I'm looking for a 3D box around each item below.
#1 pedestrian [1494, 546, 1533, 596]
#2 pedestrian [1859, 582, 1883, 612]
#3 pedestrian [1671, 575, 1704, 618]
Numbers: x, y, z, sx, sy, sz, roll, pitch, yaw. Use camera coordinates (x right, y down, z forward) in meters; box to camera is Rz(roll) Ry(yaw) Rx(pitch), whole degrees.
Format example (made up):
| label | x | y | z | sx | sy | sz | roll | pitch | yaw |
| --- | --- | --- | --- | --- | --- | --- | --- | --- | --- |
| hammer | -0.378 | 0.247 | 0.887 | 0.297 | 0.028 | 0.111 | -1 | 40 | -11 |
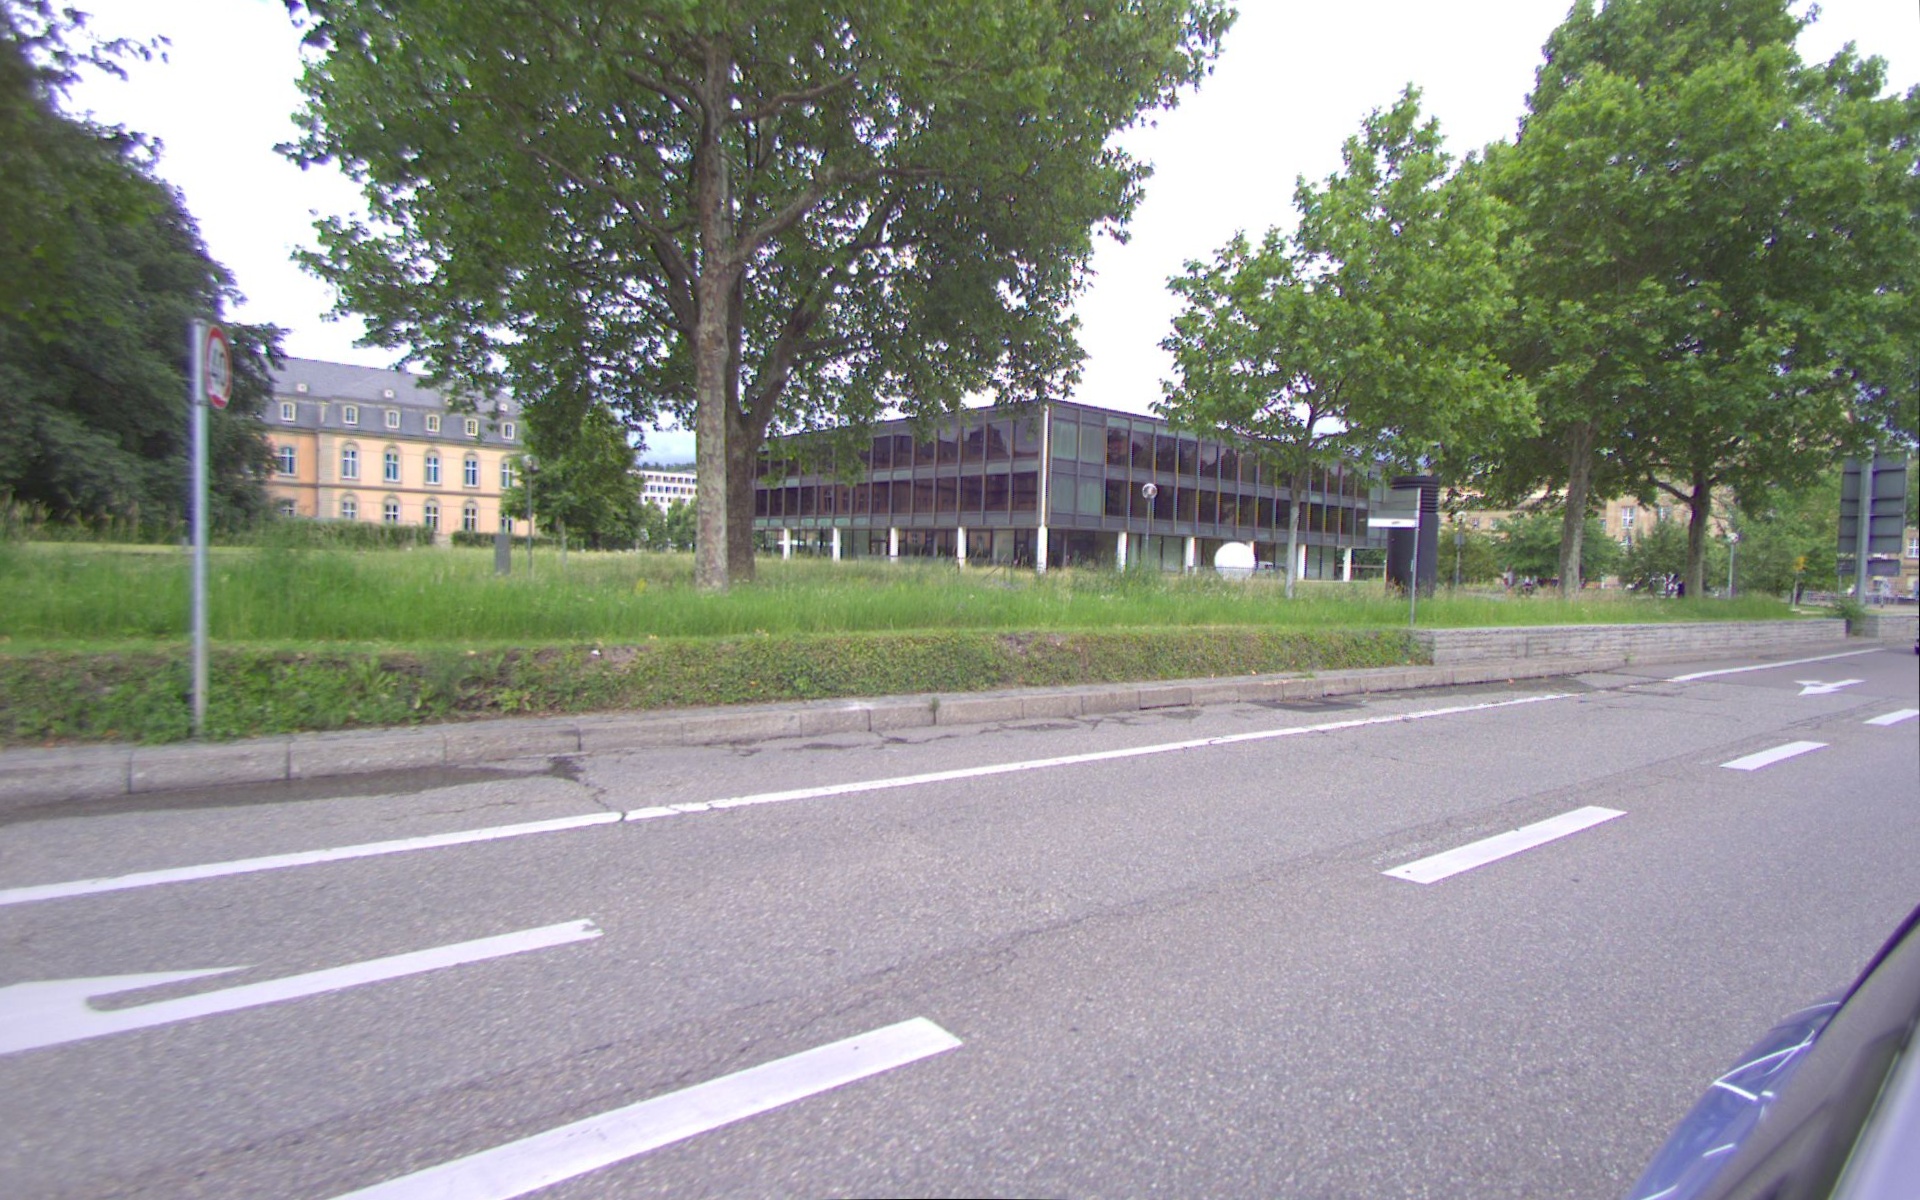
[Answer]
| label | x | y | z | sx | sy | sz | roll | pitch | yaw |
| --- | --- | --- | --- | --- | --- | --- | --- | --- | --- |
| pedestrian | 20.948 | -1.091 | 38.333 | 1.013 | 1.859 | 0.997 | 0 | 0 | 10 |
| pedestrian | 51.596 | -0.150 | 57.313 | 0.614 | 1.646 | 0.806 | 1 | 2 | -32 |
| pedestrian | 29.878 | -0.137 | 41.579 | 0.951 | 1.754 | 0.898 | 0 | 0 | -39 |
